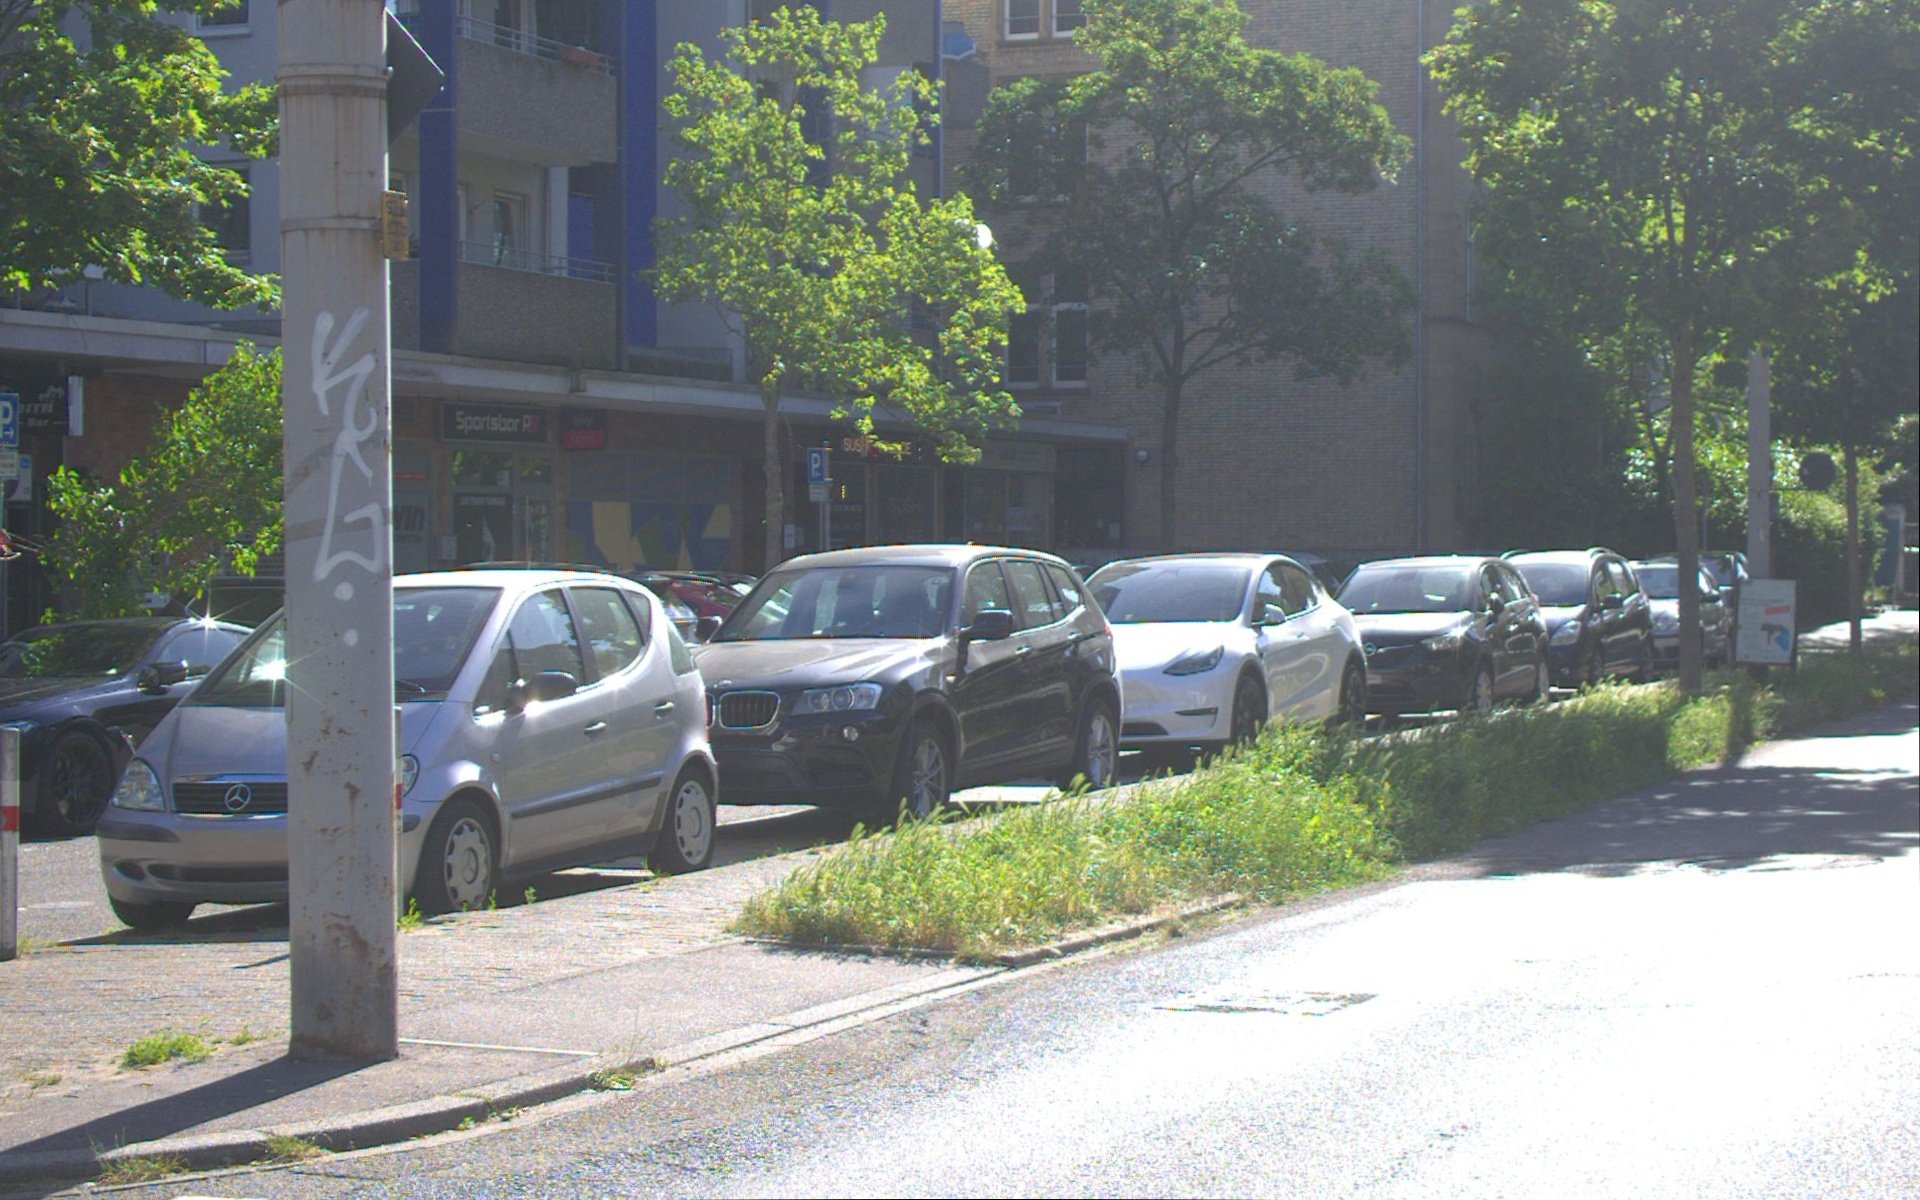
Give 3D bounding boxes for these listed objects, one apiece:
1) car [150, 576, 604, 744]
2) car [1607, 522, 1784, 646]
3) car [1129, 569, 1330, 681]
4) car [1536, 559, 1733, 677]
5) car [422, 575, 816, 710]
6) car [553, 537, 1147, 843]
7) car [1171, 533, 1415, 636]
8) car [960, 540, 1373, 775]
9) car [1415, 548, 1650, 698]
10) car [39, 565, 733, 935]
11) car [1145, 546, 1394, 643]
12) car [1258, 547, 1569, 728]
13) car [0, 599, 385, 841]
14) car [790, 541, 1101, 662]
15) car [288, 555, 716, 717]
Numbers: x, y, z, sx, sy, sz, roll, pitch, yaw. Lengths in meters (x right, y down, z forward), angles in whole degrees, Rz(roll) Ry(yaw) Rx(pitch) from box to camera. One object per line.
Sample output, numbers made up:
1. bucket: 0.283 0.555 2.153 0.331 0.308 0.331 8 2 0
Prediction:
1. car: -5.655 0.548 33.411 3.990 1.546 1.768 0 1 18
2. car: 10.276 -0.245 47.848 1.764 1.640 3.996 0 1 22
3. car: 3.807 0.310 47.970 1.688 1.464 3.996 0 1 22
4. car: 8.571 0.190 43.467 1.756 1.393 3.996 0 1 21
5. car: -3.760 0.441 37.954 3.990 1.420 1.686 0 1 18
6. car: -0.510 0.450 20.687 1.870 1.622 4.499 -1 1 22
7. car: 5.904 -0.291 60.852 3.991 1.763 1.884 0 1 19
8. car: 1.723 0.389 26.958 1.890 1.656 4.526 -2 0 21
9. car: 6.377 0.215 37.992 1.753 1.548 3.996 0 1 21
10. car: -2.565 0.615 16.201 1.721 1.513 3.528 -1 1 19
11. car: 5.317 -0.115 58.985 3.990 1.624 1.686 0 1 18
12. car: 4.393 0.319 32.801 1.865 1.582 3.995 -1 1 24
13. car: -5.908 0.734 22.947 1.893 1.393 4.524 0 1 24
14. car: -0.189 0.001 47.702 3.990 1.624 1.686 0 1 18
15. car: -4.723 0.337 35.575 3.990 1.602 1.840 0 1 18
